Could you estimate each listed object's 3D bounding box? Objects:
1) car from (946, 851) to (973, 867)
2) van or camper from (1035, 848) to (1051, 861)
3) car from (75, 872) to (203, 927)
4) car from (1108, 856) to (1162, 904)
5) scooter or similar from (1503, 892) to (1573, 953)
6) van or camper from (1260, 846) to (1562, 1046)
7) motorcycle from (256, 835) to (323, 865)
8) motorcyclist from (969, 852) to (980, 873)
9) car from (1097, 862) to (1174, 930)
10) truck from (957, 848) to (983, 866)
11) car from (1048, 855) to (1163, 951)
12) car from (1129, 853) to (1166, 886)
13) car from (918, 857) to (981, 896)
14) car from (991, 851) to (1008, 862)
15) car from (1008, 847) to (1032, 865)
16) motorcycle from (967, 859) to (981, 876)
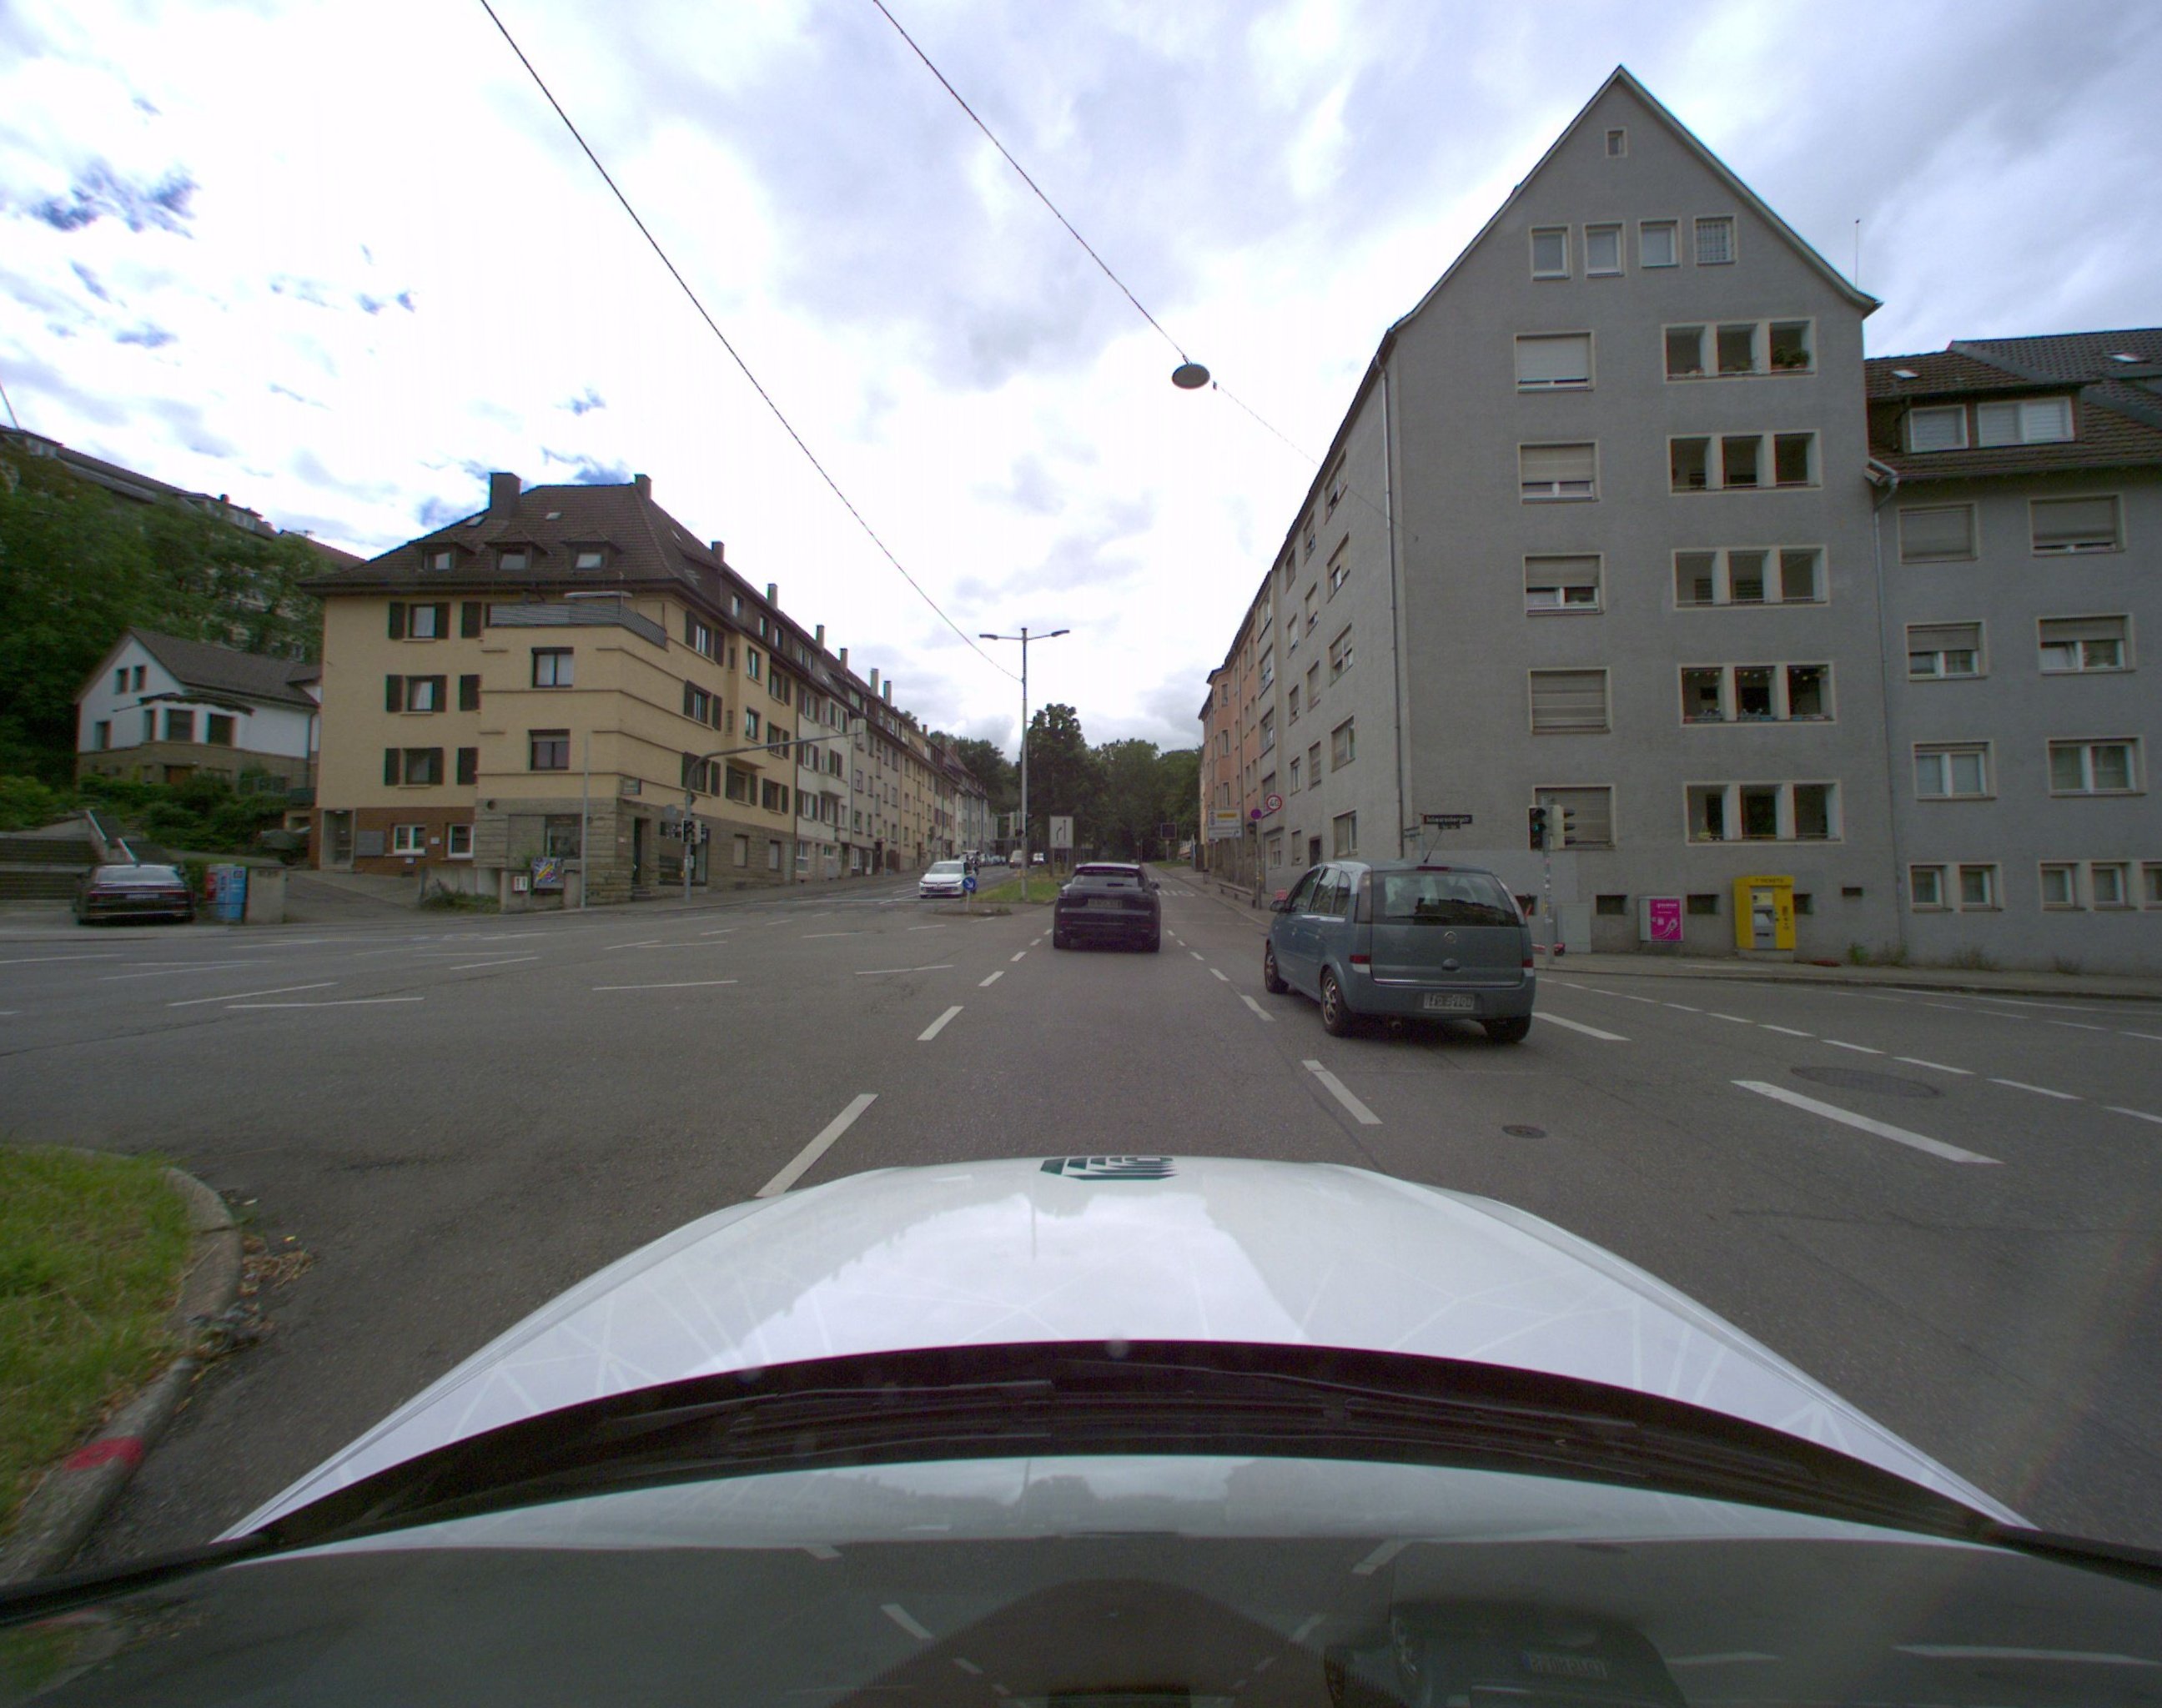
[{"bbox_3d":[-12.121,0.447,81.774,1.986,1.552,4.159,0,0,1],"label":"car"},{"bbox_3d":[-5.343,0.130,115.123,1.900,1.761,4.658,1,0,3],"label":"van or camper"},{"bbox_3d":[-24.588,1.135,21.222,3.948,1.189,1.847,1,-1,36],"label":"car"},{"bbox_3d":[2.104,0.949,31.569,1.926,1.653,4.004,-1,1,4],"label":"car"},{"bbox_3d":[9.969,1.467,17.769,1.239,1.216,0.605,1,-1,38],"label":"scooter or similar"},{"bbox_3d":[3.057,0.738,8.390,1.729,1.578,3.647,1,0,2],"label":"van or camper"},{"bbox_3d":[-31.758,-0.158,32.727,0.556,1.134,2.048,2,0,4],"label":"motorcycle"},{"bbox_3d":[-7.559,0.619,57.972,0.670,1.475,0.663,0,-1,3],"label":"motorcyclist"},{"bbox_3d":[1.504,1.083,22.582,1.926,1.653,4.004,-1,0,4],"label":"car"},{"bbox_3d":[-11.916,0.313,87.853,1.986,1.920,5.348,0,0,1],"label":"truck"},{"bbox_3d":[0.563,0.884,16.302,1.985,1.653,4.004,-1,-1,4],"label":"car"},{"bbox_3d":[3.624,0.812,44.627,1.926,1.653,4.004,-1,1,4],"label":"car"},{"bbox_3d":[-5.343,0.854,33.602,1.739,1.467,4.587,0,0,2],"label":"car"},{"bbox_3d":[-10.759,0.272,107.687,1.988,1.423,4.209,0,0,-1],"label":"car"},{"bbox_3d":[-6.167,0.193,82.815,1.871,1.816,4.355,1,0,3],"label":"car"},{"bbox_3d":[-7.571,0.927,57.807,0.542,1.185,2.207,0,-1,4],"label":"motorcycle"}]
